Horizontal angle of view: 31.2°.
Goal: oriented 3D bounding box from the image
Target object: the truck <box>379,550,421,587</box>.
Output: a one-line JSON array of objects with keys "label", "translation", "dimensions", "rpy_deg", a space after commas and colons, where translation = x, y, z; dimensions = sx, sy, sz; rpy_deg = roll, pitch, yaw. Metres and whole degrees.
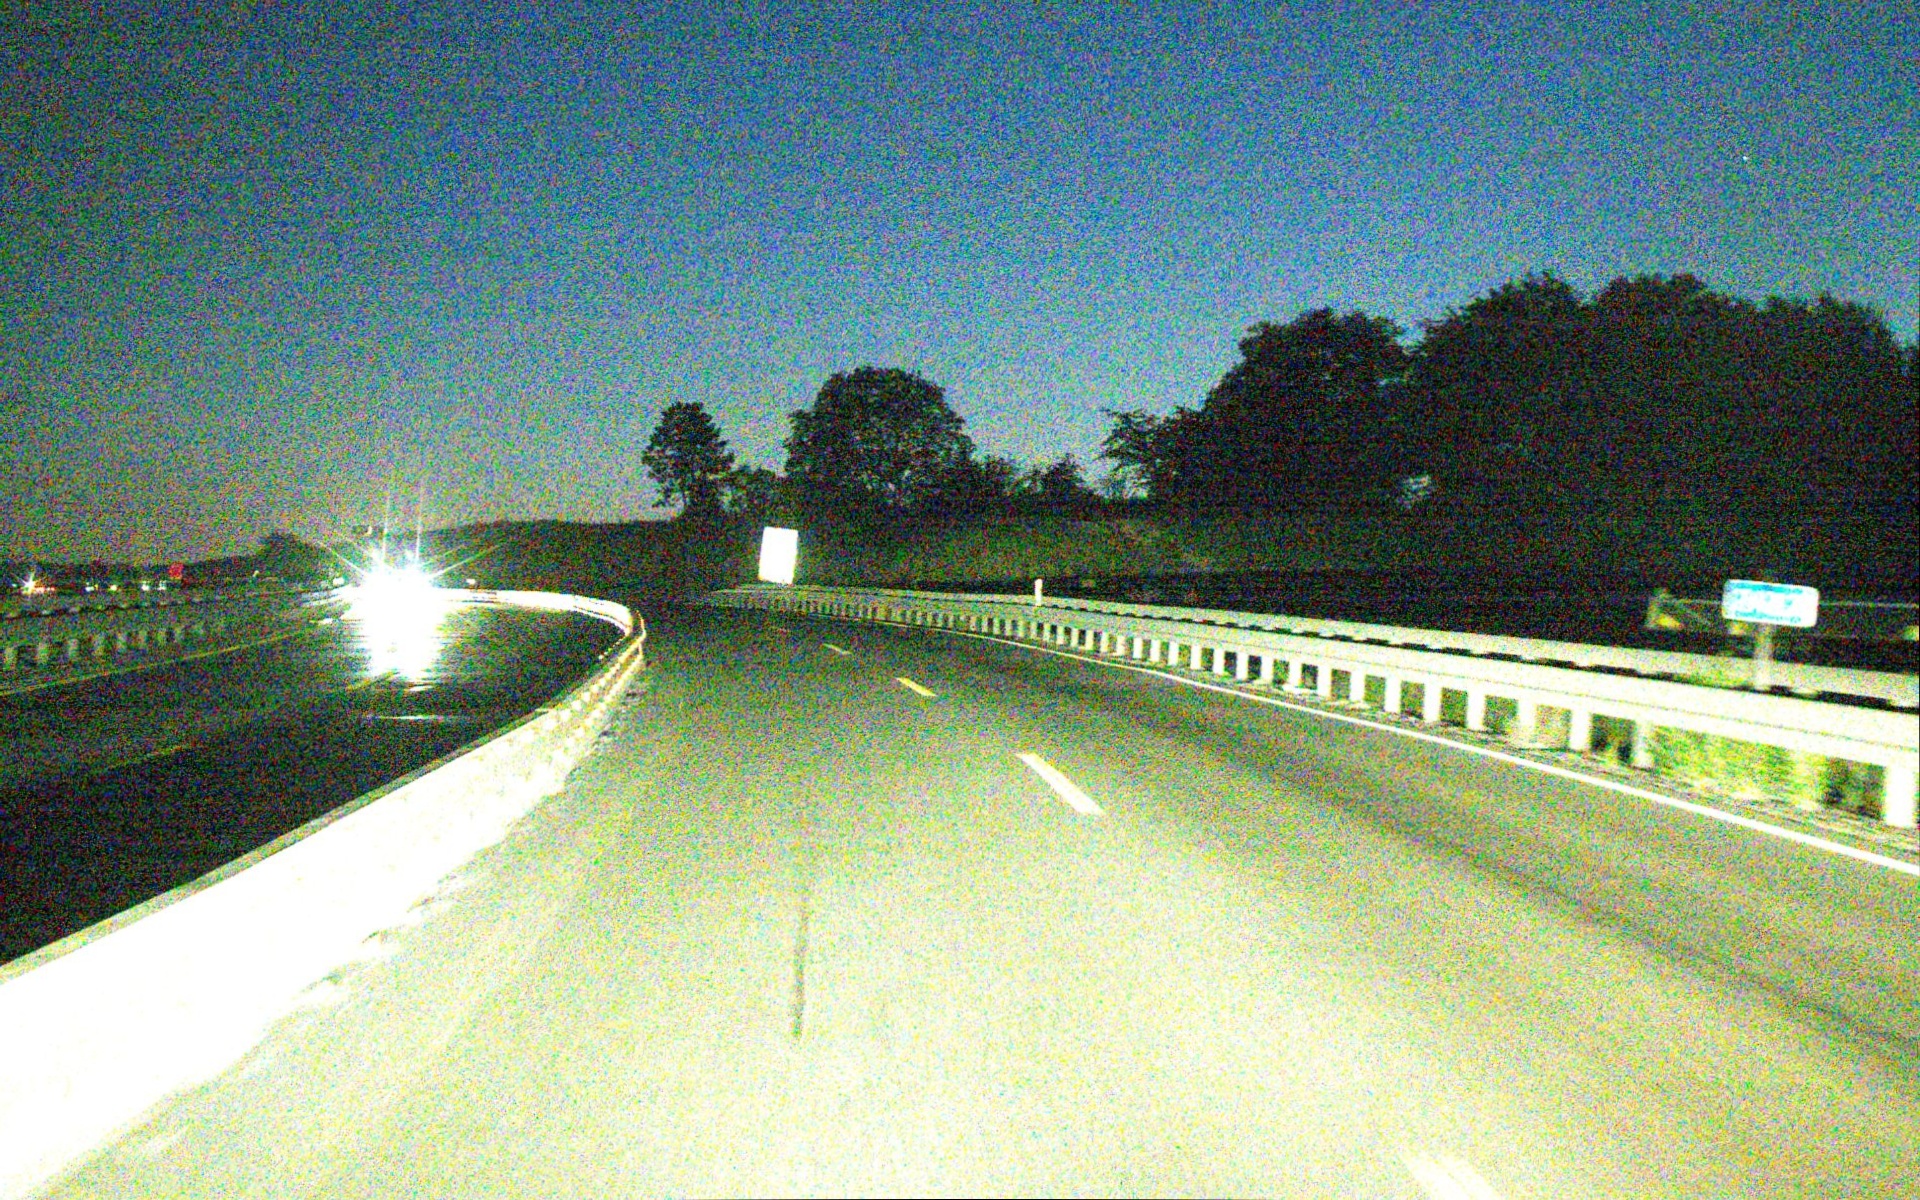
[{"label": "truck", "translation": [-23.346, -1.319, 143.431], "dimensions": [1.682, 1.465, 4.154], "rpy_deg": [1, 0, -9]}]
